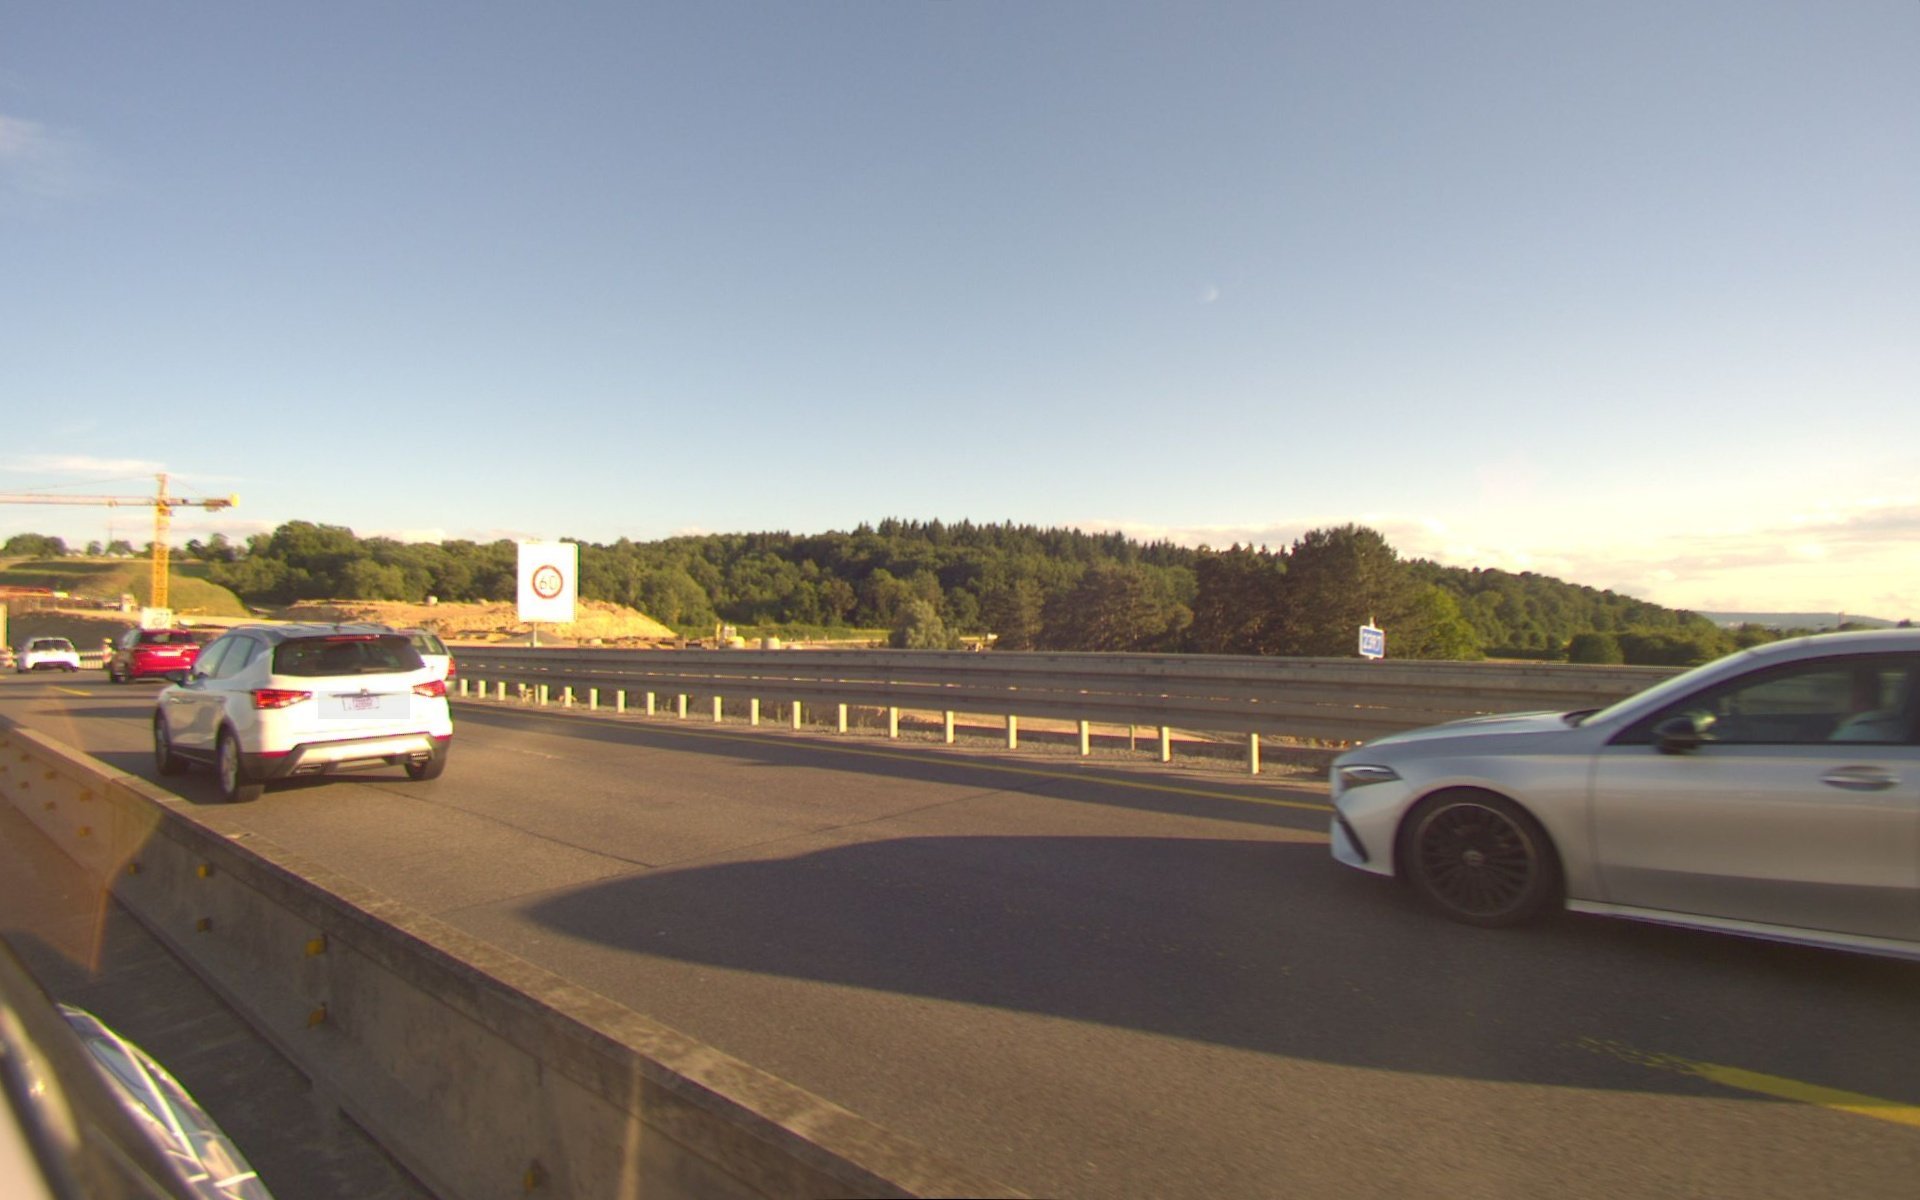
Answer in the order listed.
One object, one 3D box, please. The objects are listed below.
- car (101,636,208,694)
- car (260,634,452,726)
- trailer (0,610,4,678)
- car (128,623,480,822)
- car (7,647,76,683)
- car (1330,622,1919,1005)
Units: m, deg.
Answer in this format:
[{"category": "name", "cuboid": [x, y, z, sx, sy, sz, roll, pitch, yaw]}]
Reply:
[{"category": "car", "cuboid": [-23.839, 1.906, 29.914, 3.998, 1.583, 1.761, -3, -4, 41]}, {"category": "car", "cuboid": [-10.917, 1.379, 18.156, 4.576, 1.433, 1.659, -3, -3, 41]}, {"category": "trailer", "cuboid": [-64.351, 2.908, 65.184, 14.016, 4.082, 2.784, -3, -4, 42]}, {"category": "car", "cuboid": [-6.426, 1.026, 9.756, 3.997, 1.523, 1.786, -3, -3, 40]}, {"category": "car", "cuboid": [-38.987, 2.746, 42.915, 3.998, 1.457, 1.683, -3, -4, 41]}, {"category": "car", "cuboid": [4.154, 0.804, 4.311, 4.530, 1.393, 1.755, -2, -3, 41]}]
